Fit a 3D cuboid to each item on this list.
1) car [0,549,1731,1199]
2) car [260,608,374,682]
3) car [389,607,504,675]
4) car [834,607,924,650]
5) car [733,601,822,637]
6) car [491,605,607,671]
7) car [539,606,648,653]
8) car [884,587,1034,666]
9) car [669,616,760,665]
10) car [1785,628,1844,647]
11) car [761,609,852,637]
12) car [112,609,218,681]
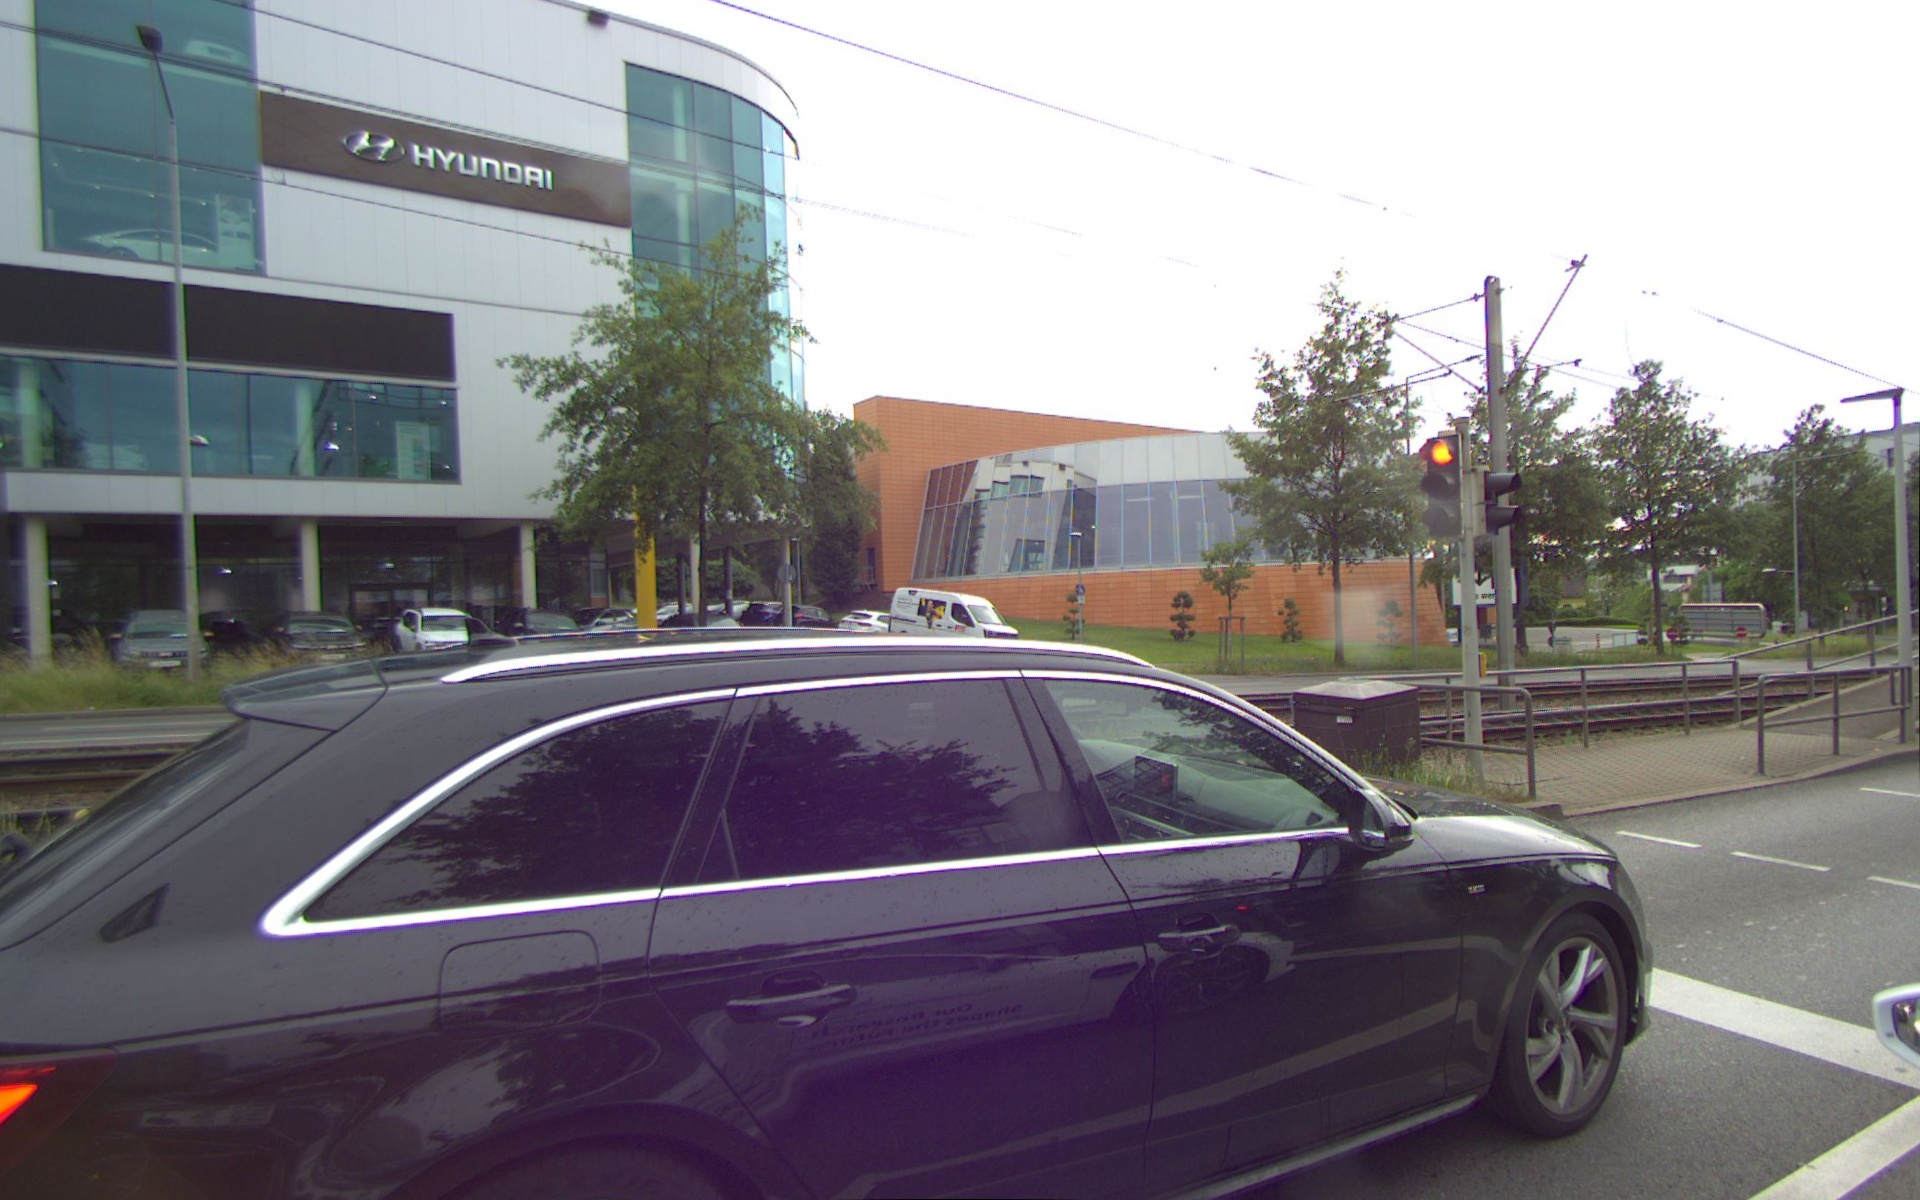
[{"bbox_3d":[0.158,0.720,2.905,4.461,1.486,1.772,1,-1,-31],"label":"car"},{"bbox_3d":[-16.956,1.109,26.389,1.984,1.571,4.324,1,1,-40],"label":"car"},{"bbox_3d":[-14.498,1.078,28.244,1.984,1.571,4.324,1,1,-40],"label":"car"},{"bbox_3d":[-3.339,1.165,42.158,1.703,1.688,3.734,1,-1,38],"label":"car"},{"bbox_3d":[-8.868,0.915,49.077,1.969,1.653,3.982,0,-1,39],"label":"car"},{"bbox_3d":[-12.281,1.081,29.862,1.984,1.637,4.324,1,1,-40],"label":"car"},{"bbox_3d":[-12.832,1.016,35.338,1.691,1.572,3.587,0,-1,20],"label":"car"},{"bbox_3d":[-0.119,0.917,38.108,5.544,2.616,2.392,3,1,43],"label":"car"},{"bbox_3d":[-7.798,1.234,31.773,1.565,1.409,3.619,0,-1,-36],"label":"car"},{"bbox_3d":[66.907,2.915,78.683,1.408,1.405,3.371,0,0,-13],"label":"car"},{"bbox_3d":[-7.212,1.068,47.508,1.969,1.297,3.982,0,-1,39],"label":"car"},{"bbox_3d":[-19.865,1.063,25.062,1.917,1.479,3.974,1,1,-40],"label":"car"}]
